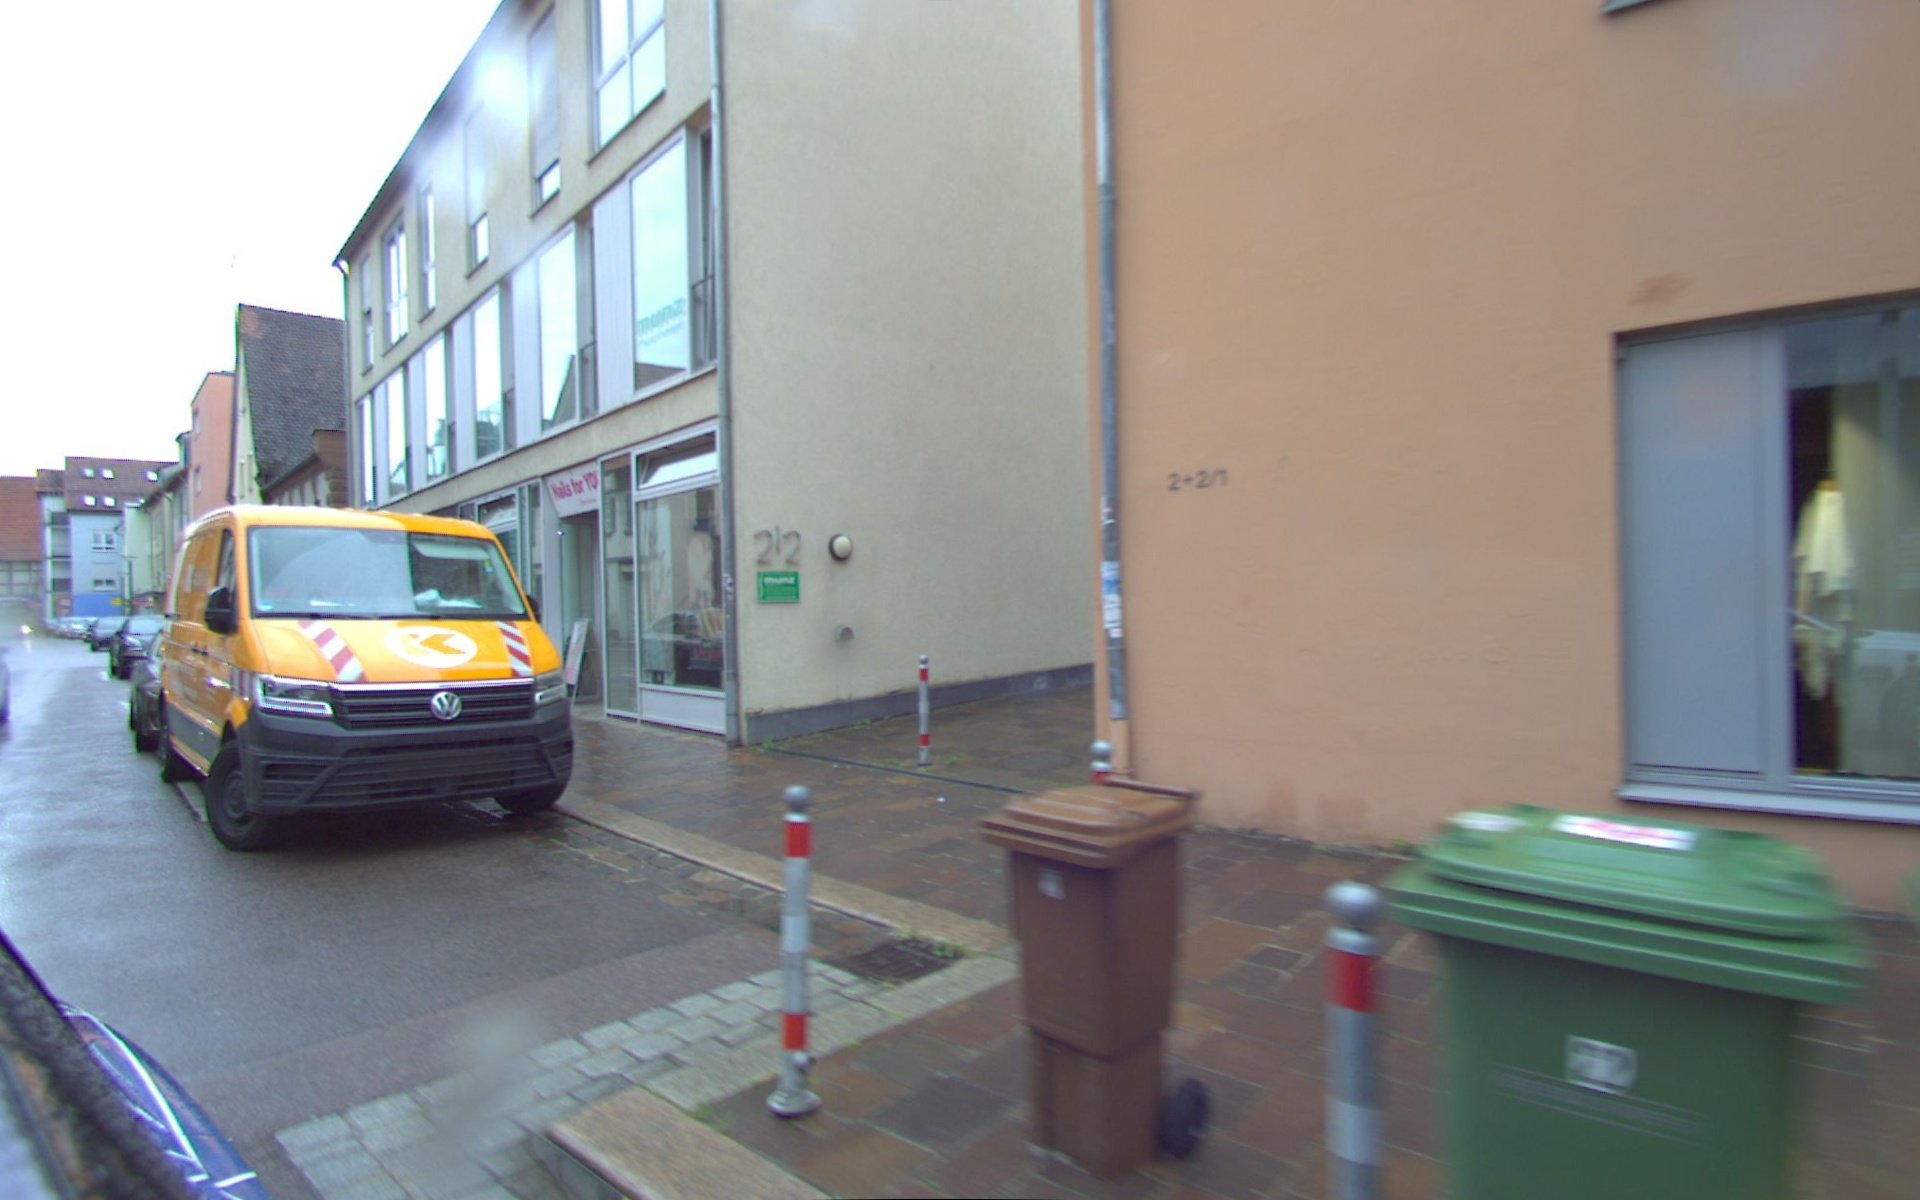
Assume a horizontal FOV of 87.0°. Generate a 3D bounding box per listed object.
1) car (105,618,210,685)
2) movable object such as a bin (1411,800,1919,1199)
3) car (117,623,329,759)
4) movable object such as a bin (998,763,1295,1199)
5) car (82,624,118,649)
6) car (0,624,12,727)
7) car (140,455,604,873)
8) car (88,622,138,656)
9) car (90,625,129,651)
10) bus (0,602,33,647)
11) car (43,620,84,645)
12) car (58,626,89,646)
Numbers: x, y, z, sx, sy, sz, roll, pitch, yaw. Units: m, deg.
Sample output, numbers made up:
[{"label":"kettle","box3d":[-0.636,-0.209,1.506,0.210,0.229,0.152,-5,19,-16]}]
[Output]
[{"label":"car","box3d":[-20.432,1.257,25.711,1.715,1.537,3.934,-1,-1,-44]},{"label":"movable object such as a bin","box3d":[1.143,0.929,1.623,0.609,1.044,0.650,-2,-1,38]},{"label":"car","box3d":[-9.342,1.008,12.665,1.735,1.366,4.487,0,-2,-41]},{"label":"movable object such as a bin","box3d":[0.482,0.948,2.606,0.574,0.934,0.482,-2,0,-42]},{"label":"car","box3d":[-51.808,2.191,60.938,1.608,1.377,3.493,-1,-1,-41]},{"label":"car","box3d":[-13.596,1.039,12.888,1.918,1.413,4.427,-1,0,-40]},{"label":"car","box3d":[-5.143,0.393,8.279,1.970,2.256,5.866,-1,-1,-43]},{"label":"car","box3d":[-37.364,1.711,44.609,1.608,1.377,3.493,-1,-1,-41]},{"label":"car","box3d":[-48.782,2.149,58.011,1.608,1.377,3.493,-1,-1,-41]},{"label":"bus","box3d":[-70.300,1.820,74.392,7.375,3.218,2.576,-2,-1,43]},{"label":"car","box3d":[-60.399,2.169,68.181,1.969,1.608,4.005,-1,-1,-42]},{"label":"car","box3d":[-63.502,2.564,72.509,1.608,1.377,3.493,-1,-1,-41]}]
